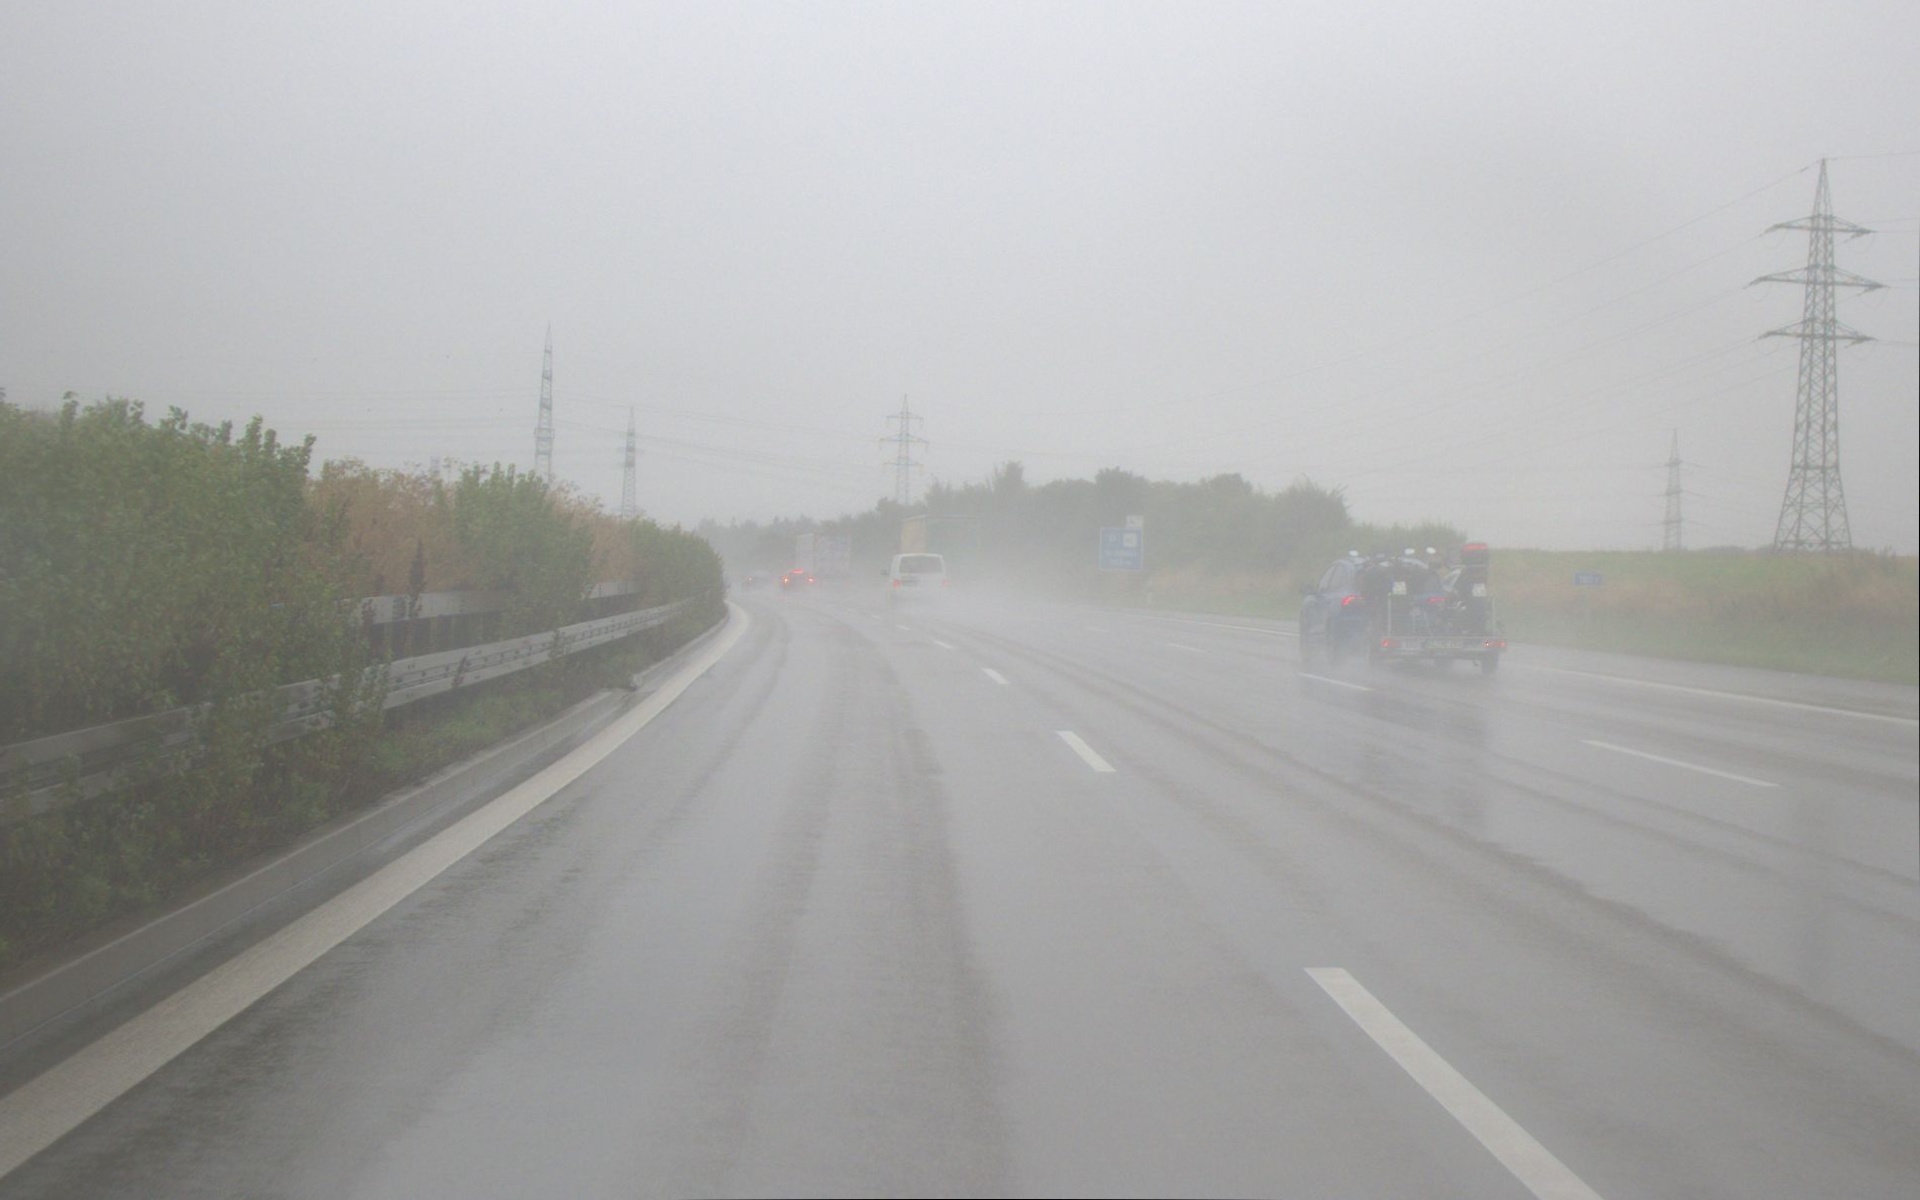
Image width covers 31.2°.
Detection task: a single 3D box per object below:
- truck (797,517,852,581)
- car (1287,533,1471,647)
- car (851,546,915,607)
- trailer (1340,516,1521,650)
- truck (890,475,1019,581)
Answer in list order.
[{"bbox_3d":[-9.307,-3.488,235.632,3.232,4.297,8.838,1,1,-6],"label":"truck"},{"bbox_3d":[6.253,-0.138,51.816,1.993,1.613,4.993,0,0,-2],"label":"car"},{"bbox_3d":[-2.630,-0.804,116.308,1.993,2.007,4.001,1,1,-3],"label":"car"},{"bbox_3d":[6.491,-0.224,47.730,1.979,1.779,3.189,0,0,-2],"label":"trailer"},{"bbox_3d":[-0.411,-3.251,161.975,4.188,4.614,16.108,1,0,-7],"label":"truck"}]
